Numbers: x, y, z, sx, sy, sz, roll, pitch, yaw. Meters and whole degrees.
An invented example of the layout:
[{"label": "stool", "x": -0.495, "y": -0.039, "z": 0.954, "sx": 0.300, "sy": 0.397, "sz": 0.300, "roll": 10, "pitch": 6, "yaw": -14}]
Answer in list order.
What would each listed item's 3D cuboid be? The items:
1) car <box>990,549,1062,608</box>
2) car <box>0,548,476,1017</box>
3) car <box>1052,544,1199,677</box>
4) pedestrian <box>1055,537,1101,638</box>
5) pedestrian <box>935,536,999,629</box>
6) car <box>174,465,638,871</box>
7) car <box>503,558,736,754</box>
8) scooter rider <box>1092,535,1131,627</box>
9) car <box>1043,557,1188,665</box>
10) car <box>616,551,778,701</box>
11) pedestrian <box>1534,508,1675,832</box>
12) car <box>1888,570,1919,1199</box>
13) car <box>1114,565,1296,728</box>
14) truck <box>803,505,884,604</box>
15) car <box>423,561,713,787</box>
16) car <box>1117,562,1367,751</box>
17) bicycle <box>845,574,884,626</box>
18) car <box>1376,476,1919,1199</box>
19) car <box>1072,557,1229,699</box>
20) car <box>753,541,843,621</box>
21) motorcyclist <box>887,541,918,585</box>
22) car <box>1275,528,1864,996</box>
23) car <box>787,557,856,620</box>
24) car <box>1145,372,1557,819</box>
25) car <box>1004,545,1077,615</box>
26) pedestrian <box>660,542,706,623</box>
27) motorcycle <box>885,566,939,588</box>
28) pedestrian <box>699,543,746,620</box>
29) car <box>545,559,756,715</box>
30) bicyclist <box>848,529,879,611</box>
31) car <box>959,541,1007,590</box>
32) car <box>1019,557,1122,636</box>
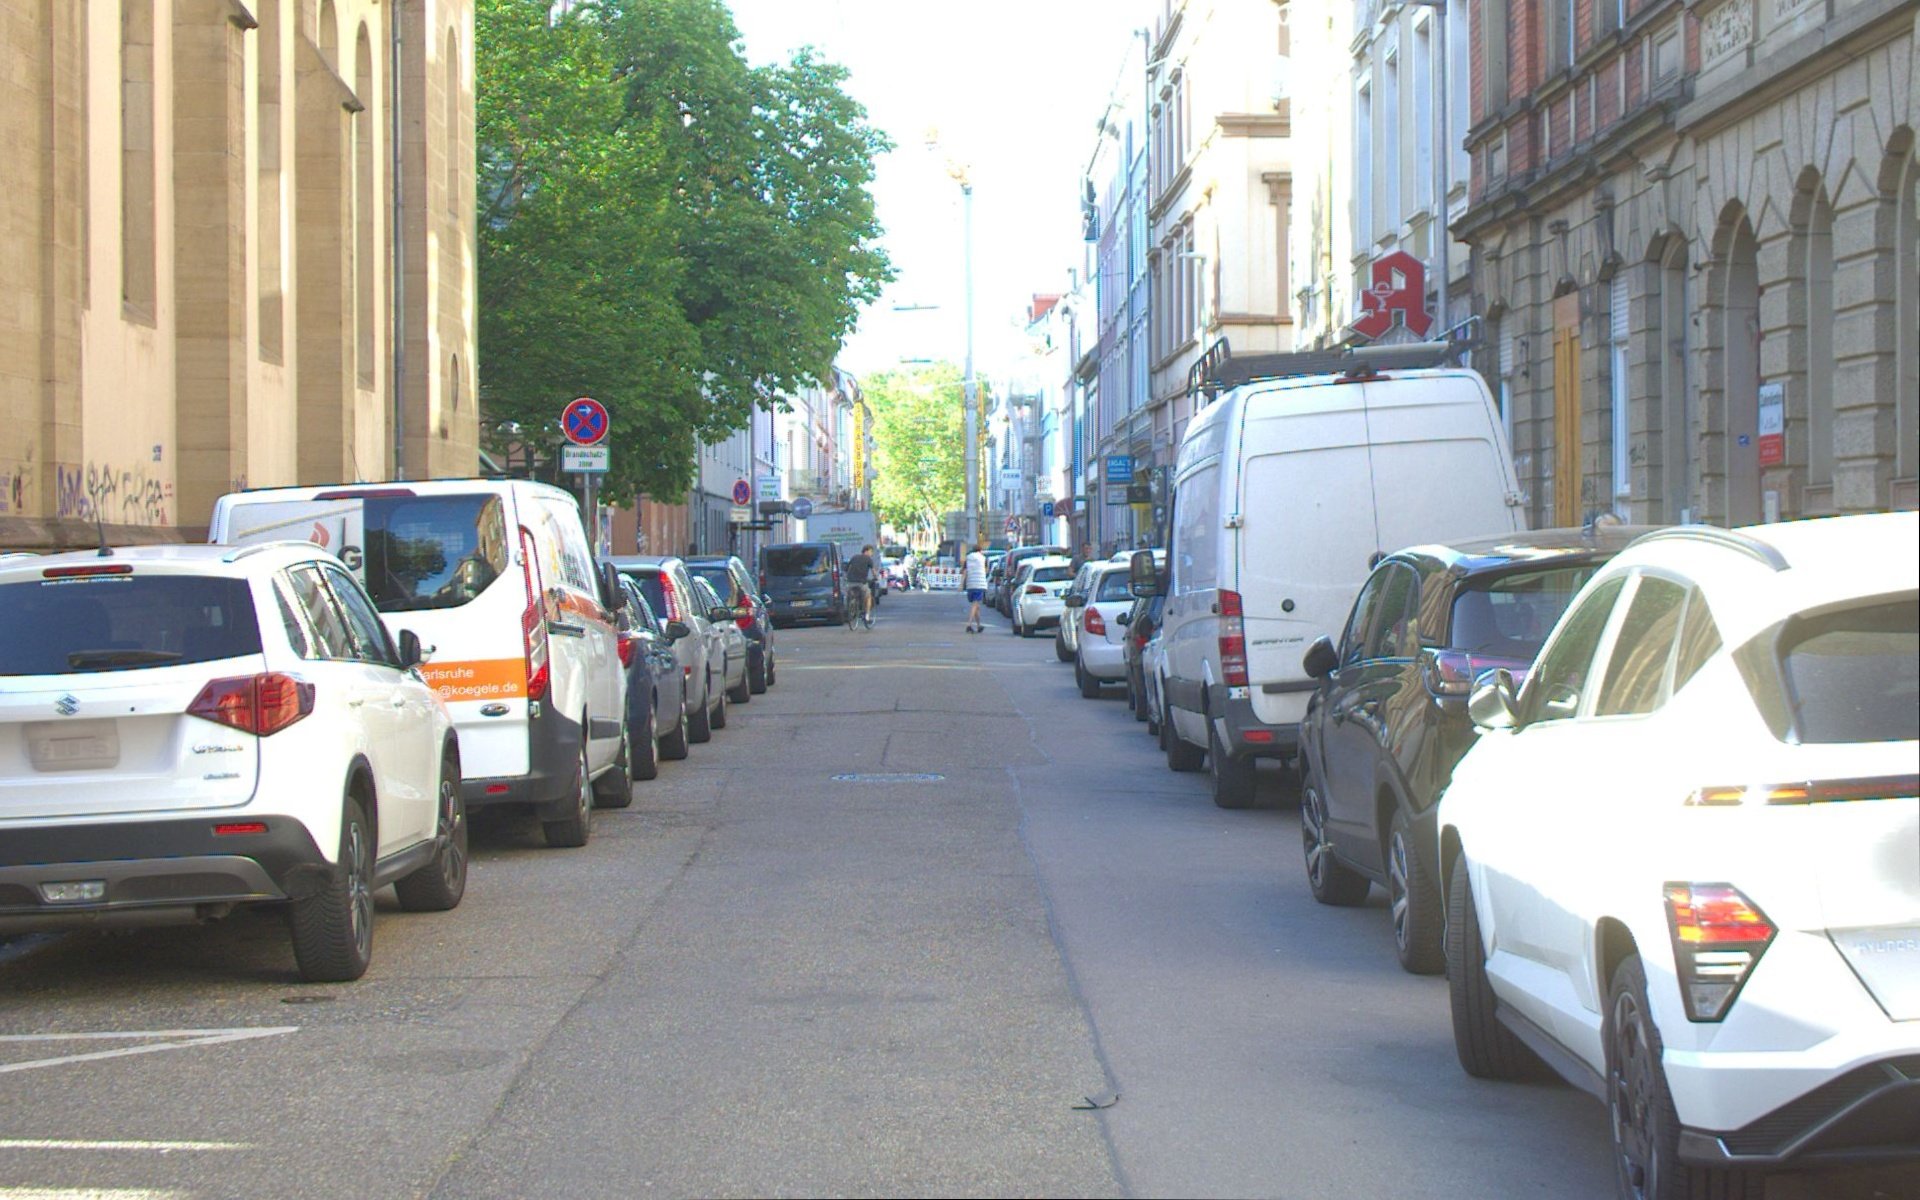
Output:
[{"label": "car", "x": 1.935, "y": -0.651, "z": 101.681, "sx": 1.993, "sy": 1.626, "sz": 4.000, "roll": 2, "pitch": 1, "yaw": 0}, {"label": "car", "x": -3.044, "y": 0.589, "z": 13.520, "sx": 1.742, "sy": 1.581, "sz": 3.869, "roll": 0, "pitch": 1, "yaw": 0}, {"label": "car", "x": 2.107, "y": 0.108, "z": 44.634, "sx": 1.716, "sy": 1.640, "sz": 4.000, "roll": 0, "pitch": 1, "yaw": 0}, {"label": "pedestrian", "x": 2.139, "y": -0.230, "z": 62.575, "sx": 0.681, "sy": 1.837, "sz": 0.695, "roll": 0, "pitch": 1, "yaw": -11}, {"label": "pedestrian", "x": 0.133, "y": -0.351, "z": 68.882, "sx": 1.008, "sy": 1.837, "sz": 0.785, "roll": 0, "pitch": 1, "yaw": -33}, {"label": "car", "x": -2.962, "y": 0.308, "z": 19.351, "sx": 1.864, "sy": 1.950, "sz": 4.610, "roll": -2, "pitch": 1, "yaw": -1}, {"label": "car", "x": -2.897, "y": 0.430, "z": 29.952, "sx": 1.673, "sy": 1.553, "sz": 4.000, "roll": -1, "pitch": 1, "yaw": -1}, {"label": "scooter rider", "x": 2.713, "y": -0.342, "z": 61.545, "sx": 0.650, "sy": 1.637, "sz": 0.683, "roll": 0, "pitch": 1, "yaw": 6}, {"label": "car", "x": 2.204, "y": 0.123, "z": 49.537, "sx": 1.716, "sy": 1.483, "sz": 3.870, "roll": 0, "pitch": 1, "yaw": -3}, {"label": "car", "x": -3.055, "y": 0.269, "z": 40.504, "sx": 1.600, "sy": 1.609, "sz": 3.808, "roll": -3, "pitch": 1, "yaw": -1}, {"label": "pedestrian", "x": 3.608, "y": 0.380, "z": 19.220, "sx": 0.640, "sy": 1.766, "sz": 0.678, "roll": 1, "pitch": 0, "yaw": 19}, {"label": "car", "x": 2.359, "y": 0.766, "z": 3.397, "sx": 1.572, "sy": 1.520, "sz": 3.909, "roll": 2, "pitch": 1, "yaw": -4}, {"label": "car", "x": 2.395, "y": 0.421, "z": 34.306, "sx": 1.570, "sy": 1.490, "sz": 3.653, "roll": 1, "pitch": 1, "yaw": 1}, {"label": "truck", "x": -3.958, "y": -1.569, "z": 117.996, "sx": 2.532, "sy": 3.270, "sz": 6.995, "roll": 0, "pitch": 1, "yaw": 0}, {"label": "car", "x": -2.769, "y": 0.473, "z": 24.997, "sx": 1.615, "sy": 1.447, "sz": 3.950, "roll": -2, "pitch": 1, "yaw": 0}, {"label": "car", "x": 2.370, "y": 0.432, "z": 29.907, "sx": 1.779, "sy": 1.481, "sz": 4.360, "roll": 1, "pitch": 1, "yaw": 0}, {"label": "bicycle", "x": -1.971, "y": -0.002, "z": 71.183, "sx": 0.739, "sy": 1.040, "sz": 1.859, "roll": 0, "pitch": 1, "yaw": 0}, {"label": "car", "x": 2.218, "y": 0.619, "z": 8.677, "sx": 1.808, "sy": 1.684, "sz": 4.214, "roll": 2, "pitch": 0, "yaw": 0}, {"label": "car", "x": 2.117, "y": 0.277, "z": 39.052, "sx": 1.604, "sy": 1.499, "sz": 4.000, "roll": 1, "pitch": 1, "yaw": 1}, {"label": "car", "x": -3.729, "y": -0.465, "z": 79.606, "sx": 1.875, "sy": 1.790, "sz": 4.000, "roll": 0, "pitch": 1, "yaw": 0}, {"label": "motorcyclist", "x": -2.592, "y": -1.665, "z": 154.612, "sx": 0.902, "sy": 2.007, "sz": 1.190, "roll": -1, "pitch": 1, "yaw": -35}, {"label": "car", "x": 2.320, "y": 0.541, "z": 14.029, "sx": 1.687, "sy": 1.637, "sz": 3.924, "roll": 0, "pitch": 1, "yaw": 0}, {"label": "car", "x": -4.069, "y": -0.358, "z": 101.615, "sx": 1.875, "sy": 1.790, "sz": 4.000, "roll": 0, "pitch": 1, "yaw": 0}, {"label": "car", "x": 2.446, "y": -0.077, "z": 23.045, "sx": 2.068, "sy": 2.602, "sz": 5.888, "roll": 0, "pitch": 1, "yaw": 0}, {"label": "car", "x": 2.045, "y": -0.538, "z": 88.117, "sx": 1.769, "sy": 1.735, "sz": 4.000, "roll": 0, "pitch": 1, "yaw": 0}, {"label": "pedestrian", "x": -6.105, "y": -0.390, "z": 75.839, "sx": 0.929, "sy": 1.780, "sz": 0.806, "roll": 0, "pitch": 1, "yaw": 1}, {"label": "motorcycle", "x": -2.151, "y": -1.025, "z": 154.020, "sx": 1.042, "sy": 0.977, "sz": 2.824, "roll": -1, "pitch": 1, "yaw": -35}, {"label": "pedestrian", "x": -5.071, "y": -0.406, "z": 73.366, "sx": 0.929, "sy": 1.632, "sz": 0.806, "roll": 0, "pitch": 1, "yaw": 1}, {"label": "car", "x": -3.097, "y": 0.336, "z": 35.053, "sx": 1.570, "sy": 1.393, "sz": 3.808, "roll": -4, "pitch": 1, "yaw": 2}, {"label": "bicyclist", "x": -2.000, "y": -0.624, "z": 71.133, "sx": 0.605, "sy": 1.682, "sz": 0.885, "roll": 0, "pitch": 1, "yaw": 0}, {"label": "car", "x": 0.959, "y": -1.453, "z": 144.138, "sx": 1.993, "sy": 2.007, "sz": 4.000, "roll": 0, "pitch": 1, "yaw": 0}, {"label": "car", "x": 2.146, "y": -0.092, "z": 67.614, "sx": 1.897, "sy": 1.483, "sz": 3.869, "roll": 0, "pitch": 1, "yaw": 0}]
